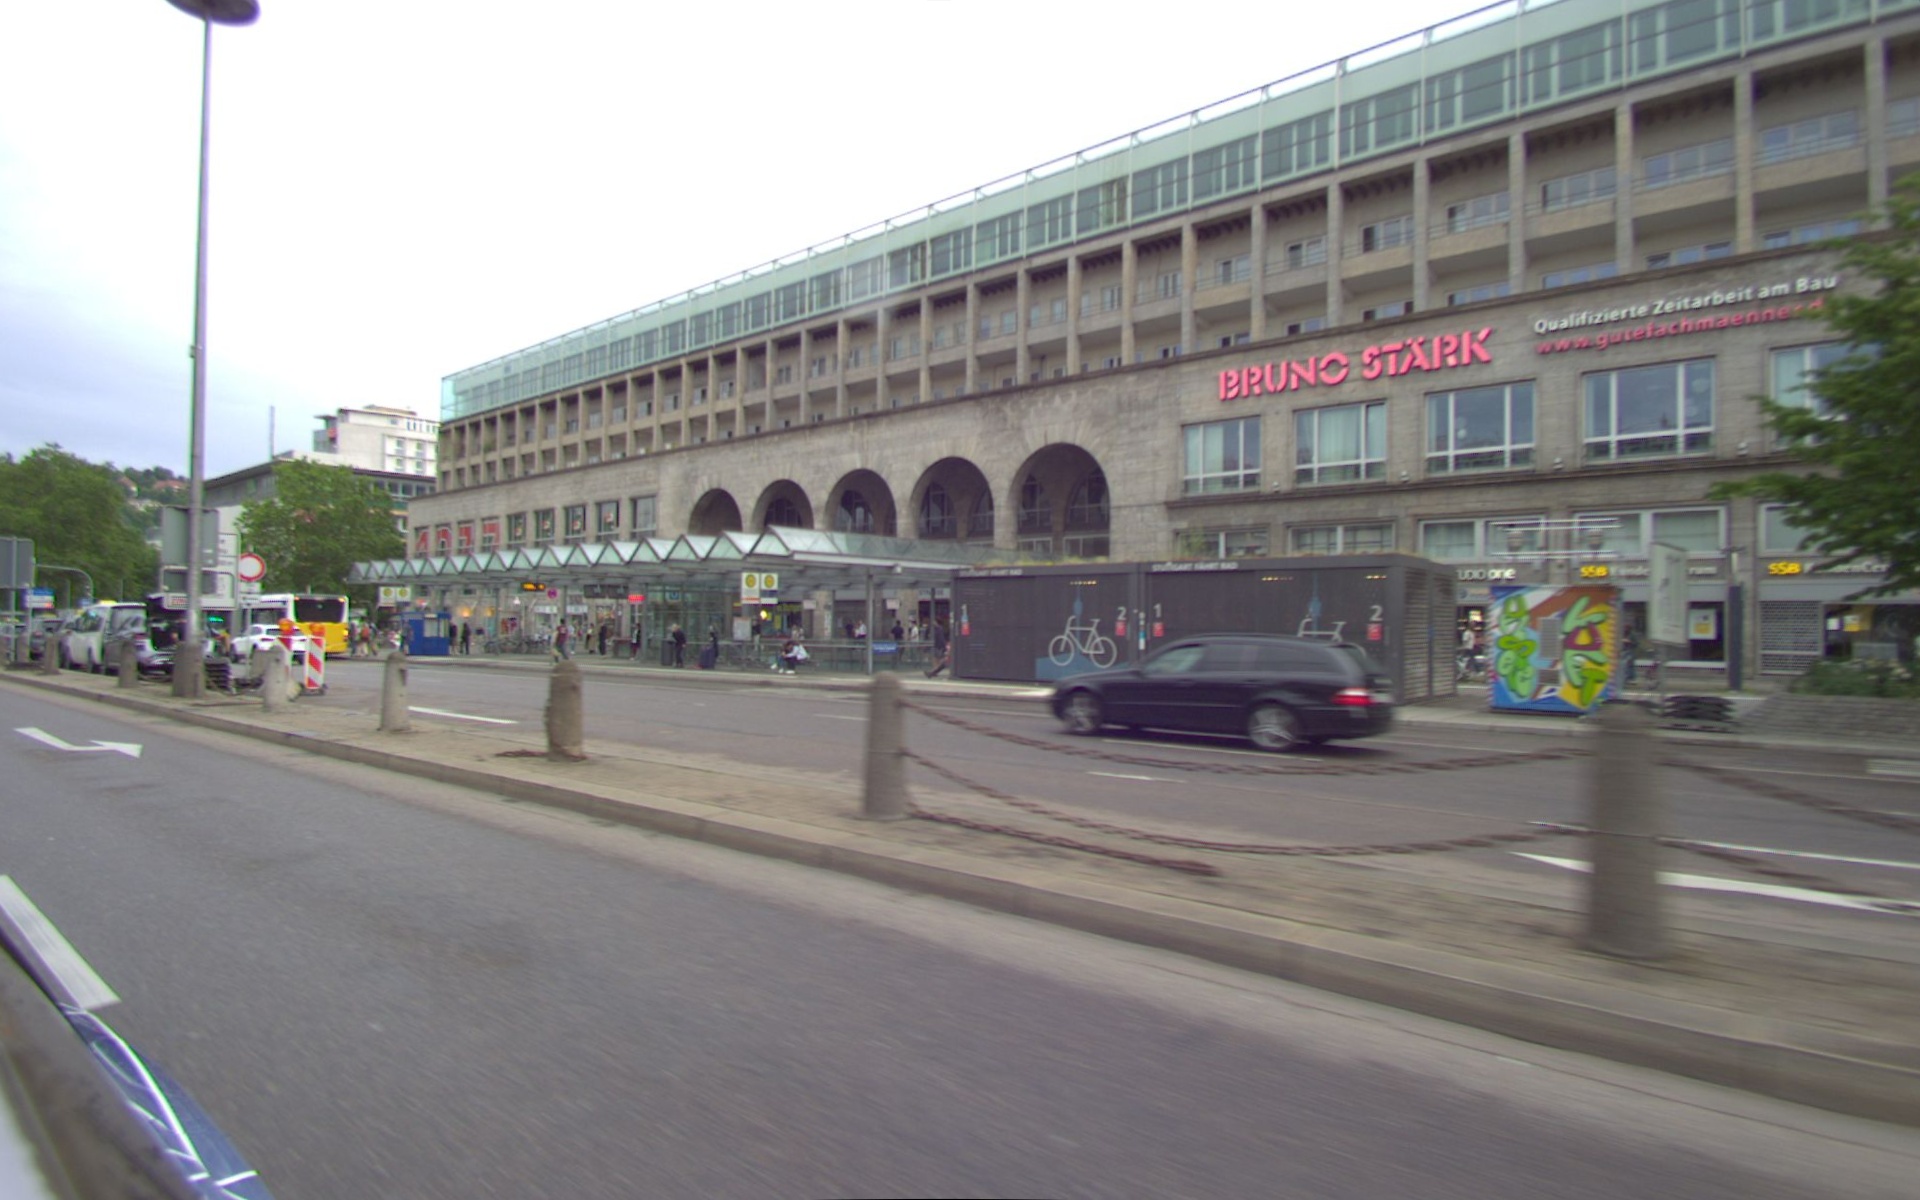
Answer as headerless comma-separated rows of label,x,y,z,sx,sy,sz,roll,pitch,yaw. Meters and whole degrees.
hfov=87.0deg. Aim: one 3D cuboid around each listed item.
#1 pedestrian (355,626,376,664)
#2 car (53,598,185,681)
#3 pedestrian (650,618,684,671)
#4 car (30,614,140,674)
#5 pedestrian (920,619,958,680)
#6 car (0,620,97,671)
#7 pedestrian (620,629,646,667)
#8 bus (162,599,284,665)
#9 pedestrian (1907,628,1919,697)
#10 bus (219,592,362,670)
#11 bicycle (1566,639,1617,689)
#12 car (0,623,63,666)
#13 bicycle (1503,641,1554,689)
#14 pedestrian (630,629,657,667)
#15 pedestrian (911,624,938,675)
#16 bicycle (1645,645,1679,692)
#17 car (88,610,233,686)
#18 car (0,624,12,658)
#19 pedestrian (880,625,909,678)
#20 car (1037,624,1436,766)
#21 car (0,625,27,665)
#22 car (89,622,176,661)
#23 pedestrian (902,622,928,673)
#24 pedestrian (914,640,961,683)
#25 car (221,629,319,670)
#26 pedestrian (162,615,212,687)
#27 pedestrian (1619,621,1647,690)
pedestrian,-28.199,2.122,48.008,0.855,1.738,0.617,-2,-1,40
car,-24.468,1.141,29.368,5.539,2.195,1.973,-2,-3,40
pedestrian,-11.327,1.718,39.136,0.960,2.029,0.833,-2,-3,39
car,-28.581,1.405,33.014,4.578,1.820,1.910,-1,-3,40
pedestrian,-0.654,1.546,31.766,0.930,1.870,0.712,-2,-1,40
car,-32.726,1.591,36.185,4.879,1.712,1.911,-1,-3,39
pedestrian,-14.796,2.150,45.730,0.893,1.668,0.748,-2,-1,41
bus,-41.233,1.783,56.430,10.563,3.402,2.849,-2,-3,39
pedestrian,22.770,1.472,23.653,0.662,1.608,0.724,0,-2,19
bus,-33.051,1.529,49.745,10.563,3.486,2.849,-2,-2,39
bicycle,17.272,1.725,27.659,0.663,1.303,2.339,-2,-3,44
car,-37.362,1.731,39.988,5.045,1.589,1.911,-1,-3,38
bicycle,16.236,1.819,28.891,0.663,1.303,2.339,-2,-3,44
pedestrian,-14.122,2.123,45.130,0.893,1.668,0.748,-2,-1,41
pedestrian,-1.462,2.001,41.302,0.771,2.057,0.795,-2,-3,41
bicycle,18.457,1.786,26.595,0.503,1.169,1.885,-2,-3,42
car,-20.309,1.182,25.647,4.778,1.735,1.973,-2,-3,40
car,-46.677,1.901,47.856,5.005,1.589,1.911,-1,-3,38
pedestrian,-2.715,2.130,42.146,0.759,2.142,0.980,2,-3,-42
car,3.646,1.153,13.972,4.974,1.629,1.973,-1,-2,41
car,-42.168,1.910,43.639,5.185,1.672,1.957,-1,-3,38
car,-36.157,1.843,44.196,4.830,1.576,1.942,-2,-5,39
pedestrian,-1.893,2.008,42.938,0.759,2.142,0.807,2,-3,-42
pedestrian,-0.646,1.756,28.953,1.260,1.191,0.574,-2,-1,40
car,-27.843,1.997,40.782,4.830,1.576,1.942,-2,-5,39
pedestrian,-18.210,1.185,23.842,0.763,1.665,0.753,-2,-3,39
pedestrian,18.748,1.538,28.186,0.603,1.869,0.674,-1,-3,33
